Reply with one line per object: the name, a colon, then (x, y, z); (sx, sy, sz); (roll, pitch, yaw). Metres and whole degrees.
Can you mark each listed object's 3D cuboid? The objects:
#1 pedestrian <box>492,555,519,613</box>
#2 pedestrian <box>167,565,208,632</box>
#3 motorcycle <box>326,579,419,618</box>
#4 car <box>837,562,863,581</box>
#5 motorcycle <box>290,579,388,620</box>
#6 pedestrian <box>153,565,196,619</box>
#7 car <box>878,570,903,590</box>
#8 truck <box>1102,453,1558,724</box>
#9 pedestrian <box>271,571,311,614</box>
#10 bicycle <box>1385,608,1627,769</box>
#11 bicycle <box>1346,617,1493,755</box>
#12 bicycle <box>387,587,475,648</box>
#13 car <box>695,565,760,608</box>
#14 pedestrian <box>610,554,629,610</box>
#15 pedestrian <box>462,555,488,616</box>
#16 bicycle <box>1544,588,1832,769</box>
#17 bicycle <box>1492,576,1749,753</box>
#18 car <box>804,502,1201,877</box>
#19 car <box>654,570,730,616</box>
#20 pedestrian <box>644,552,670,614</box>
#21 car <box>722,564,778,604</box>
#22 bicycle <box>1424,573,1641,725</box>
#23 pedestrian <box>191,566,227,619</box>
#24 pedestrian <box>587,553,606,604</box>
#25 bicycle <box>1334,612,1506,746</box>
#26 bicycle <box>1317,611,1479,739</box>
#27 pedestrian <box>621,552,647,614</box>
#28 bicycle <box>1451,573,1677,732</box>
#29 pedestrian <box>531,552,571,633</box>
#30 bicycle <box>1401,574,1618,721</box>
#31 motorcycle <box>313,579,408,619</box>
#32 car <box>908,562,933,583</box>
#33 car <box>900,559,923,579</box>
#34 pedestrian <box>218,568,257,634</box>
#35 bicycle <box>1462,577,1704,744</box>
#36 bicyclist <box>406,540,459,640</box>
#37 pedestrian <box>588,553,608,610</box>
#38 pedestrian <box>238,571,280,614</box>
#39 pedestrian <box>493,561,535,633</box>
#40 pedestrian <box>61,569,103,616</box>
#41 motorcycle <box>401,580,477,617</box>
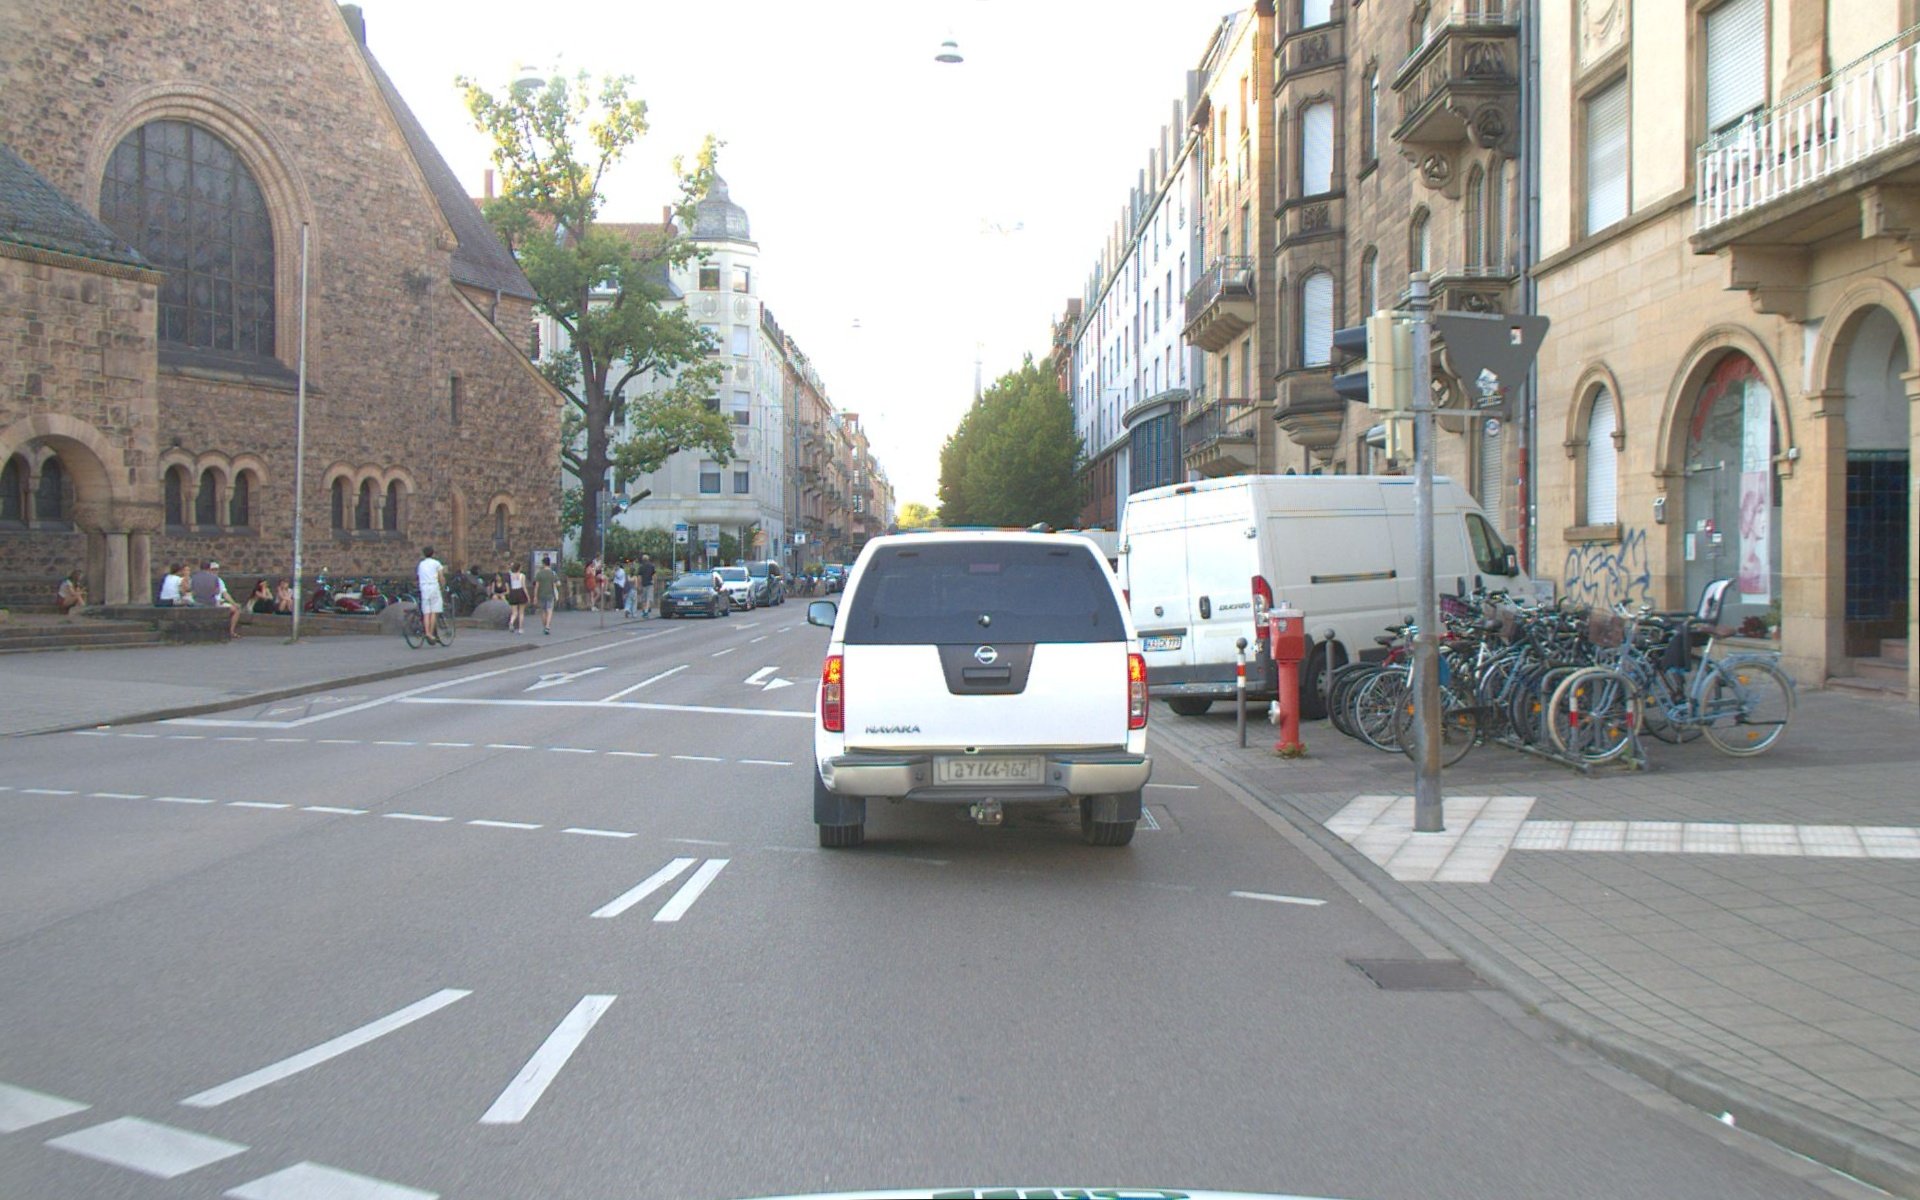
pedestrian: (-13.733, -0.486, 49.968); (0.629, 1.725, 0.562); (1, 0, 0)
pedestrian: (-14.783, -0.025, 31.652); (0.468, 1.267, 0.523); (1, 0, 18)
motorcycle: (-15.579, -0.036, 43.894); (2.200, 1.005, 0.707); (1, 1, -5)
car: (-8.943, -2.305, 134.567); (1.820, 1.555, 4.000); (1, 1, 0)
motorcycle: (-15.699, -0.010, 41.868); (2.200, 1.005, 0.707); (1, 1, -5)
pedestrian: (-14.511, -0.152, 30.555); (0.510, 0.977, 0.479); (1, 0, 18)
car: (-5.505, -1.621, 131.864); (1.820, 1.555, 4.000); (1, 1, 0)
truck: (4.326, -0.155, 18.665); (5.627, 2.609, 2.252); (-1, 1, -43)
pedestrian: (-15.755, -0.179, 38.951); (0.540, 0.977, 0.709); (1, 1, 21)
bicycle: (4.141, 0.664, 12.580); (1.692, 1.102, 0.317); (-3, 1, -2)
bicycle: (3.737, 0.692, 13.470); (1.055, 1.042, 0.317); (-3, 1, -2)
bicycle: (-10.054, 0.314, 31.514); (0.642, 1.096, 2.247); (1, 1, 9)
car: (-8.661, -0.512, 61.853); (1.820, 1.555, 4.000); (1, 1, 0)
pedestrian: (-11.635, -0.628, 56.491); (0.549, 1.887, 0.644); (1, 0, -7)
pedestrian: (-13.978, -0.417, 47.669); (0.630, 1.725, 0.561); (1, 0, -8)
bicycle: (5.304, 0.556, 12.099); (1.781, 1.169, 0.636); (-3, 1, -2)
bicycle: (5.194, 0.497, 13.040); (1.781, 1.259, 0.488); (-3, 1, -2)
car: (0.236, 0.420, 10.247); (1.952, 1.841, 4.001); (1, 1, 1)
car: (-8.644, -0.250, 53.658); (1.820, 1.422, 4.000); (1, 1, 0)
pedestrian: (-9.391, -0.529, 51.284); (0.635, 1.887, 0.557); (0, 0, -28)
car: (-8.651, -0.672, 68.435); (1.820, 1.555, 4.000); (1, 1, 0)
bicycle: (5.211, 0.440, 15.082); (1.781, 1.259, 0.410); (-3, 1, -2)
pedestrian: (-13.834, -0.142, 30.475); (0.513, 0.977, 0.477); (1, 0, -15)
pedestrian: (-12.468, -0.728, 56.792); (0.549, 1.725, 0.644); (1, 0, -7)
bicycle: (3.935, 0.669, 14.179); (1.344, 1.042, 0.317); (-3, 1, -2)
bicycle: (3.894, 0.663, 14.726); (1.306, 1.042, 0.317); (-3, 1, -2)
pedestrian: (-10.055, -0.534, 51.020); (0.635, 1.887, 0.557); (0, 0, -28)
bicycle: (5.273, 0.449, 14.476); (1.781, 1.259, 0.412); (-3, 1, -2)
pedestrian: (-9.943, -0.184, 40.253); (0.796, 1.934, 0.666); (1, 0, -1)
bicycle: (5.175, 0.435, 15.614); (1.818, 1.259, 0.531); (-3, 1, -2)
motorcycle: (-15.602, -0.026, 43.095); (2.200, 1.005, 0.707); (1, 1, -5)
car: (-2.985, -2.122, 126.551); (1.820, 1.555, 4.000); (1, 1, 0)
car: (-4.039, -2.552, 136.872); (1.882, 1.555, 3.999); (1, 1, -2)
pedestrian: (-14.143, 0.014, 32.380); (0.468, 1.267, 0.523); (1, 0, 18)
bicycle: (5.165, 0.492, 13.752); (1.781, 1.259, 0.478); (-3, 1, -2)
bicyclist: (-10.052, -0.194, 31.529); (0.642, 1.859, 0.860); (1, 0, 9)
pedestrian: (-12.233, -0.629, 55.951); (0.632, 1.887, 0.560); (1, 0, -14)
pedestrian: (-16.222, -0.176, 38.283); (0.540, 0.977, 0.709); (1, 1, 21)
pedestrian: (-10.776, -0.074, 39.974); (0.795, 1.698, 0.859); (1, 0, -1)
pedestrian: (-18.649, -0.165, 35.128); (0.541, 0.977, 0.709); (1, 1, -6)
motorcycle: (-14.546, -0.053, 46.169); (2.120, 1.005, 0.594); (1, 1, 21)
